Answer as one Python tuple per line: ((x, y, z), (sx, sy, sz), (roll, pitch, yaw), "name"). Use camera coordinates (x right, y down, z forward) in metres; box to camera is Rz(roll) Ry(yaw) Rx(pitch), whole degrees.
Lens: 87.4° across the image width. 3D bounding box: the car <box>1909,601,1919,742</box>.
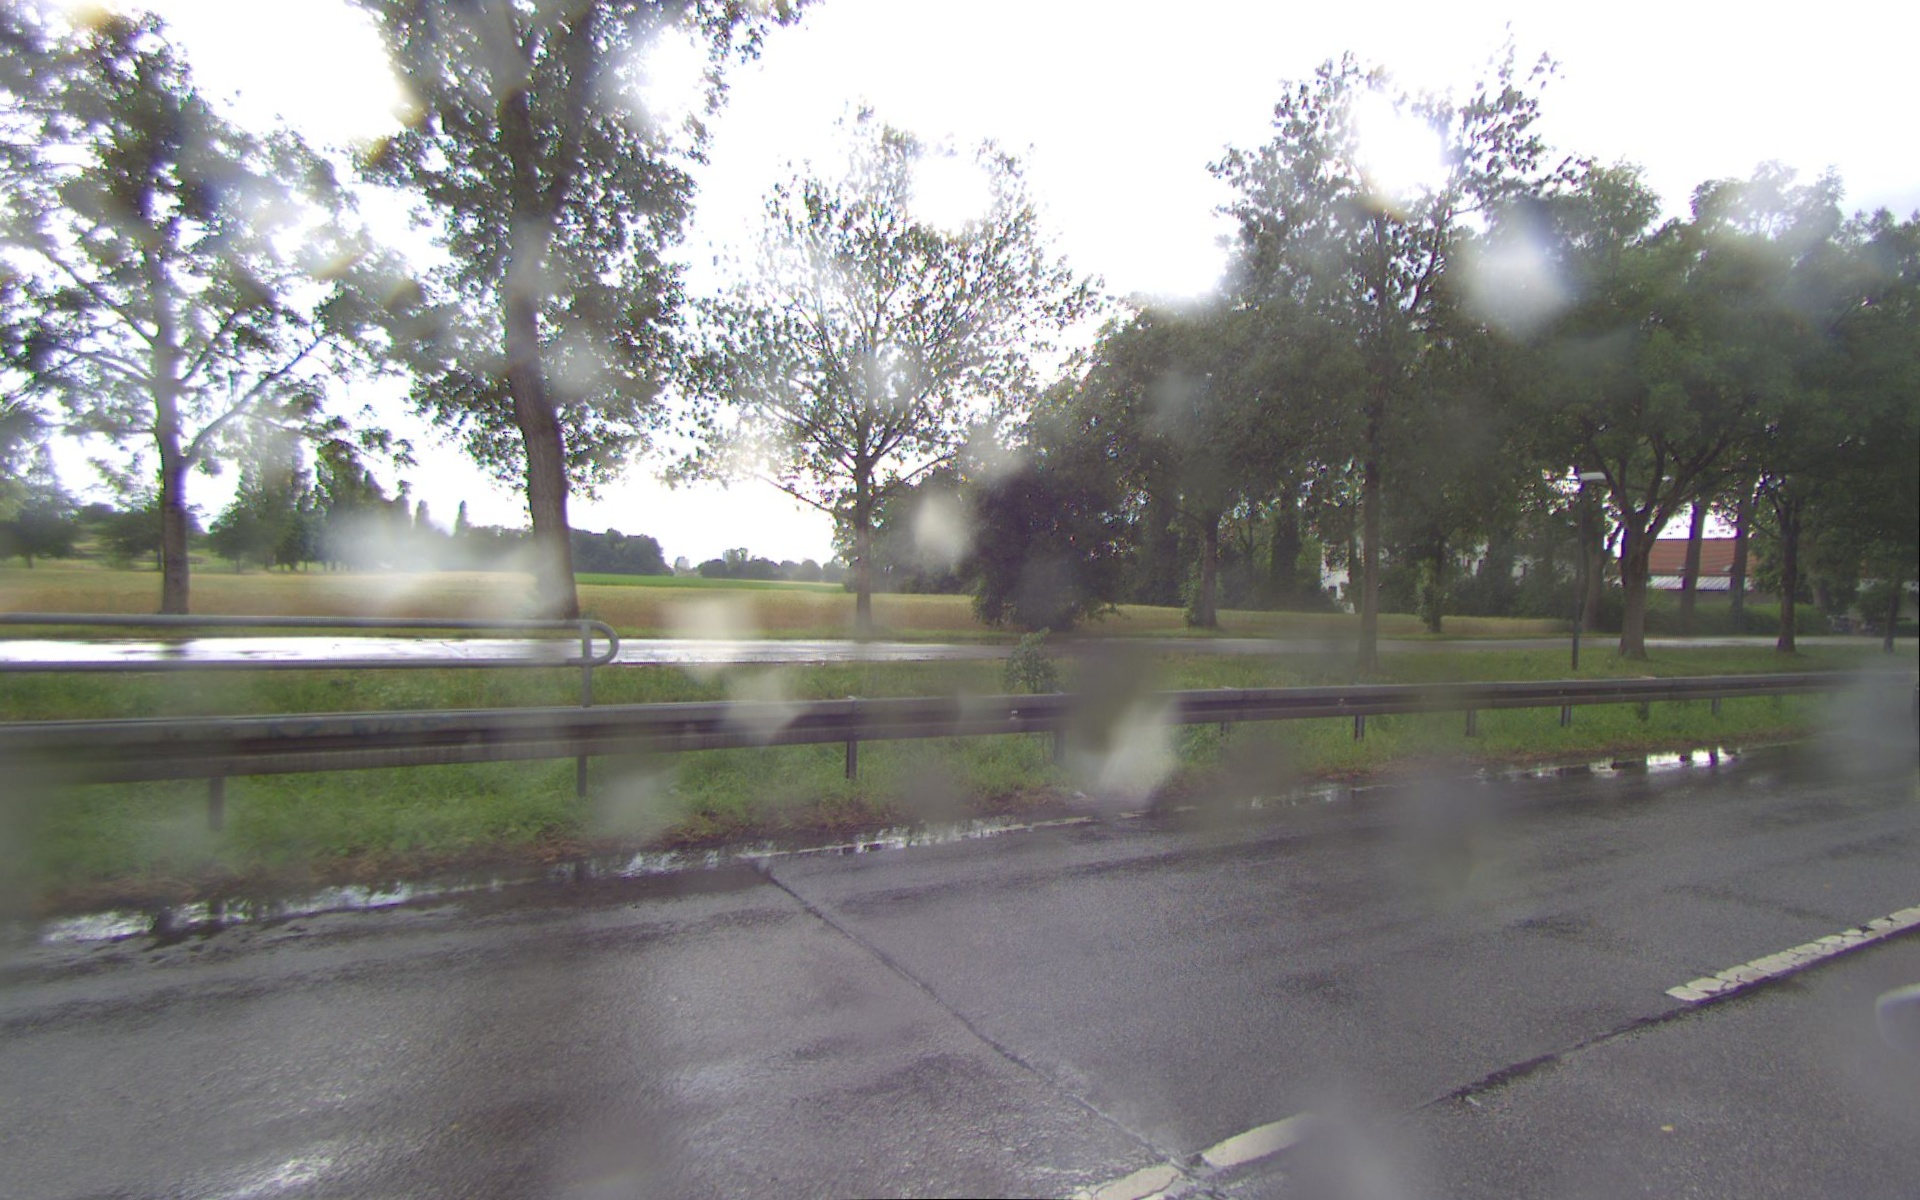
((14.727, 0.976, 13.427), (4.363, 1.827, 1.819), (1, -1, -30), "car")
